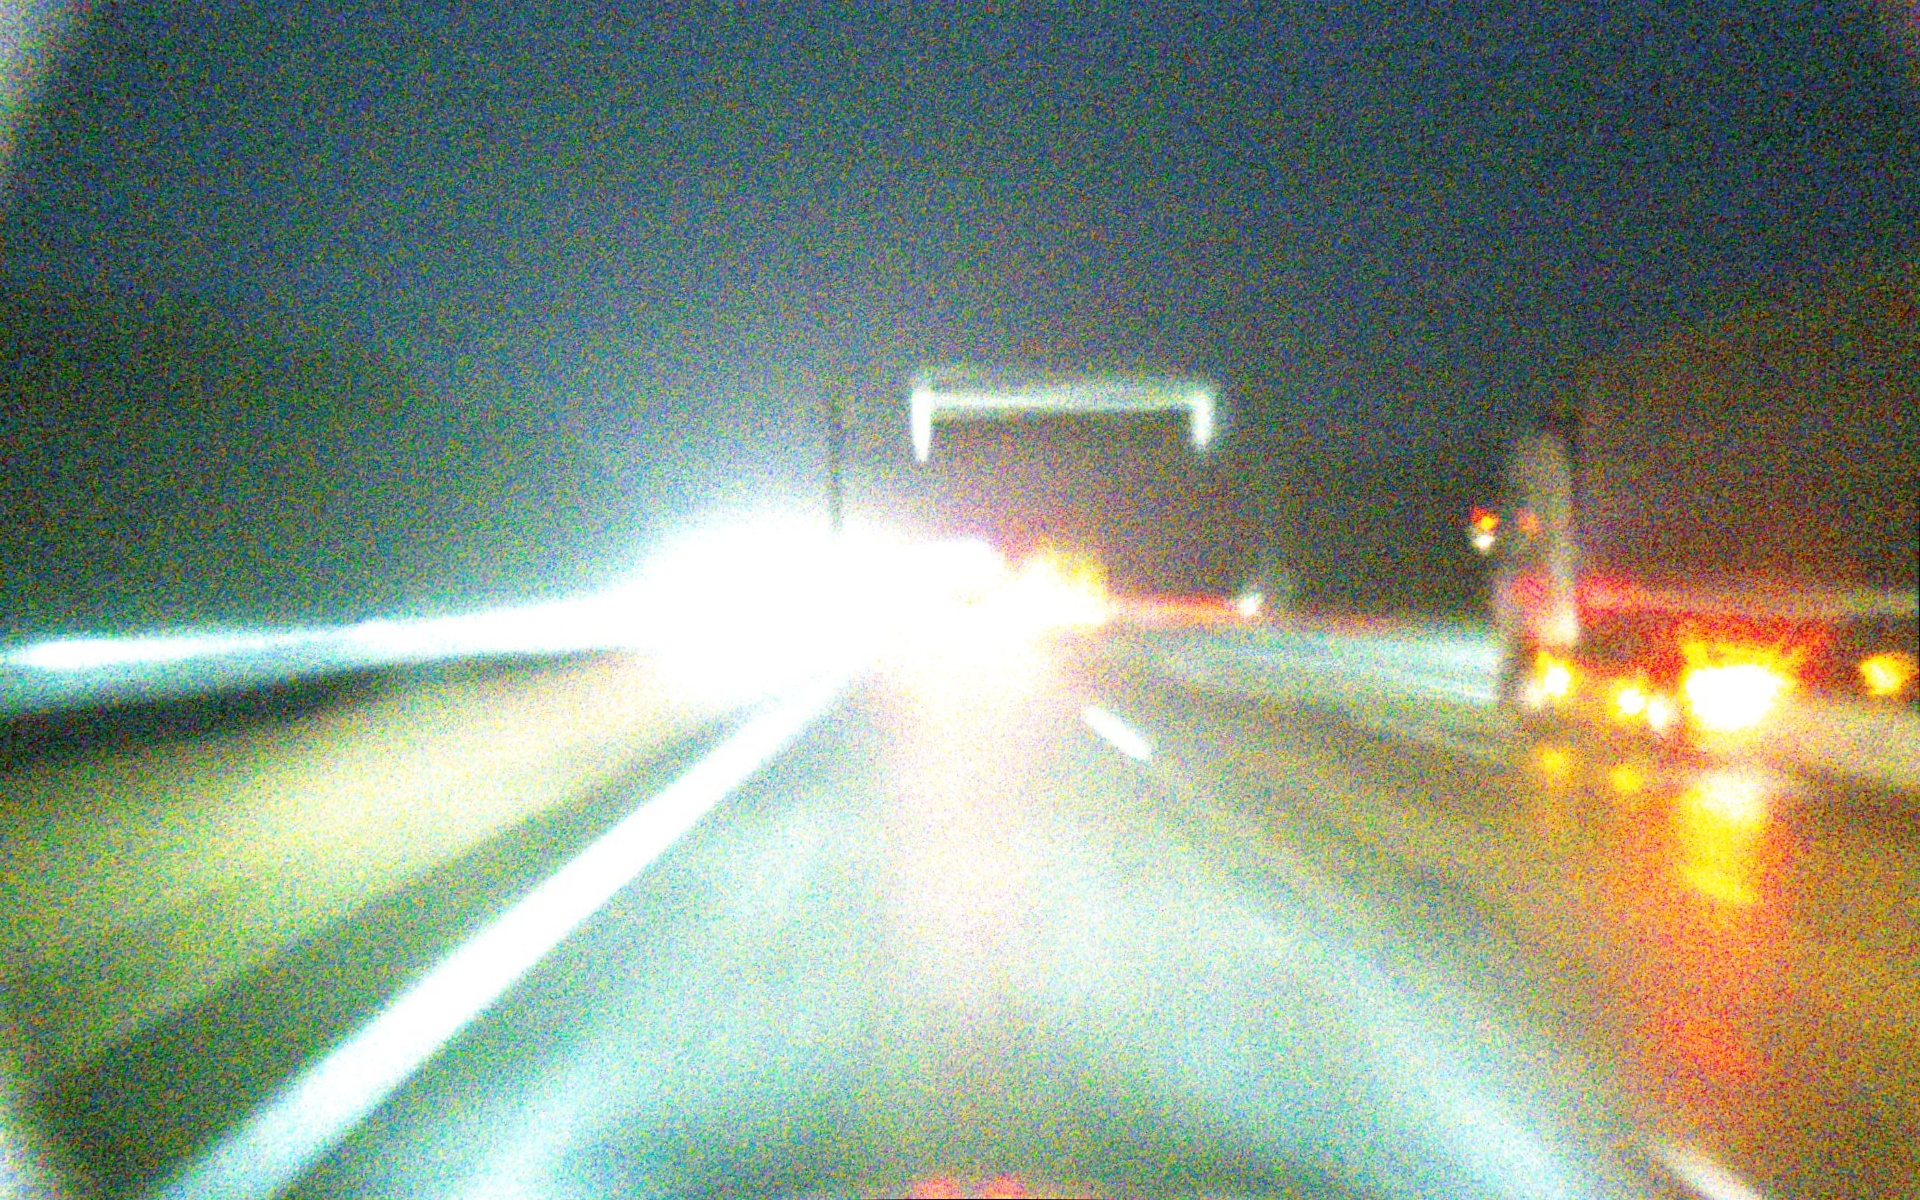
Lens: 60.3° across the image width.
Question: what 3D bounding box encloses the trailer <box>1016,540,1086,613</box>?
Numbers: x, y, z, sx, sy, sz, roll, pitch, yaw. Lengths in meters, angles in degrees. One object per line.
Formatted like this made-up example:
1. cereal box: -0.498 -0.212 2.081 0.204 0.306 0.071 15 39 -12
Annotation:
1. trailer: 5.579 -1.338 103.929 2.980 4.180 13.821 -2 0 -2

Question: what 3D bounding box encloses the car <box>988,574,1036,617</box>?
1. car: 2.644 -0.211 84.745 1.954 2.049 3.996 -2 0 -4

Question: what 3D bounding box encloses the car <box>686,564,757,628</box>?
1. car: -18.949 -0.381 132.104 3.628 4.811 10.601 1 1 3

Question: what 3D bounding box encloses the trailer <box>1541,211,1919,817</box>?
1. trailer: 8.054 -0.616 11.197 2.844 4.180 14.484 -1 0 -1

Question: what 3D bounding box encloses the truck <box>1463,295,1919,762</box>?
1. truck: 7.913 -0.682 18.044 2.844 4.180 6.029 -1 0 -1

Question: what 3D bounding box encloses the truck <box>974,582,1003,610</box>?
1. truck: 3.663 -0.504 212.372 2.976 3.355 11.375 -2 0 -2

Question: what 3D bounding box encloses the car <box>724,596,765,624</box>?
1. car: -13.642 0.619 105.090 1.953 1.692 4.808 -2 0 -1

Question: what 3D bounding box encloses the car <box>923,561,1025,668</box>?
1. car: 0.233 0.289 33.775 1.953 2.049 3.999 0 0 -1
